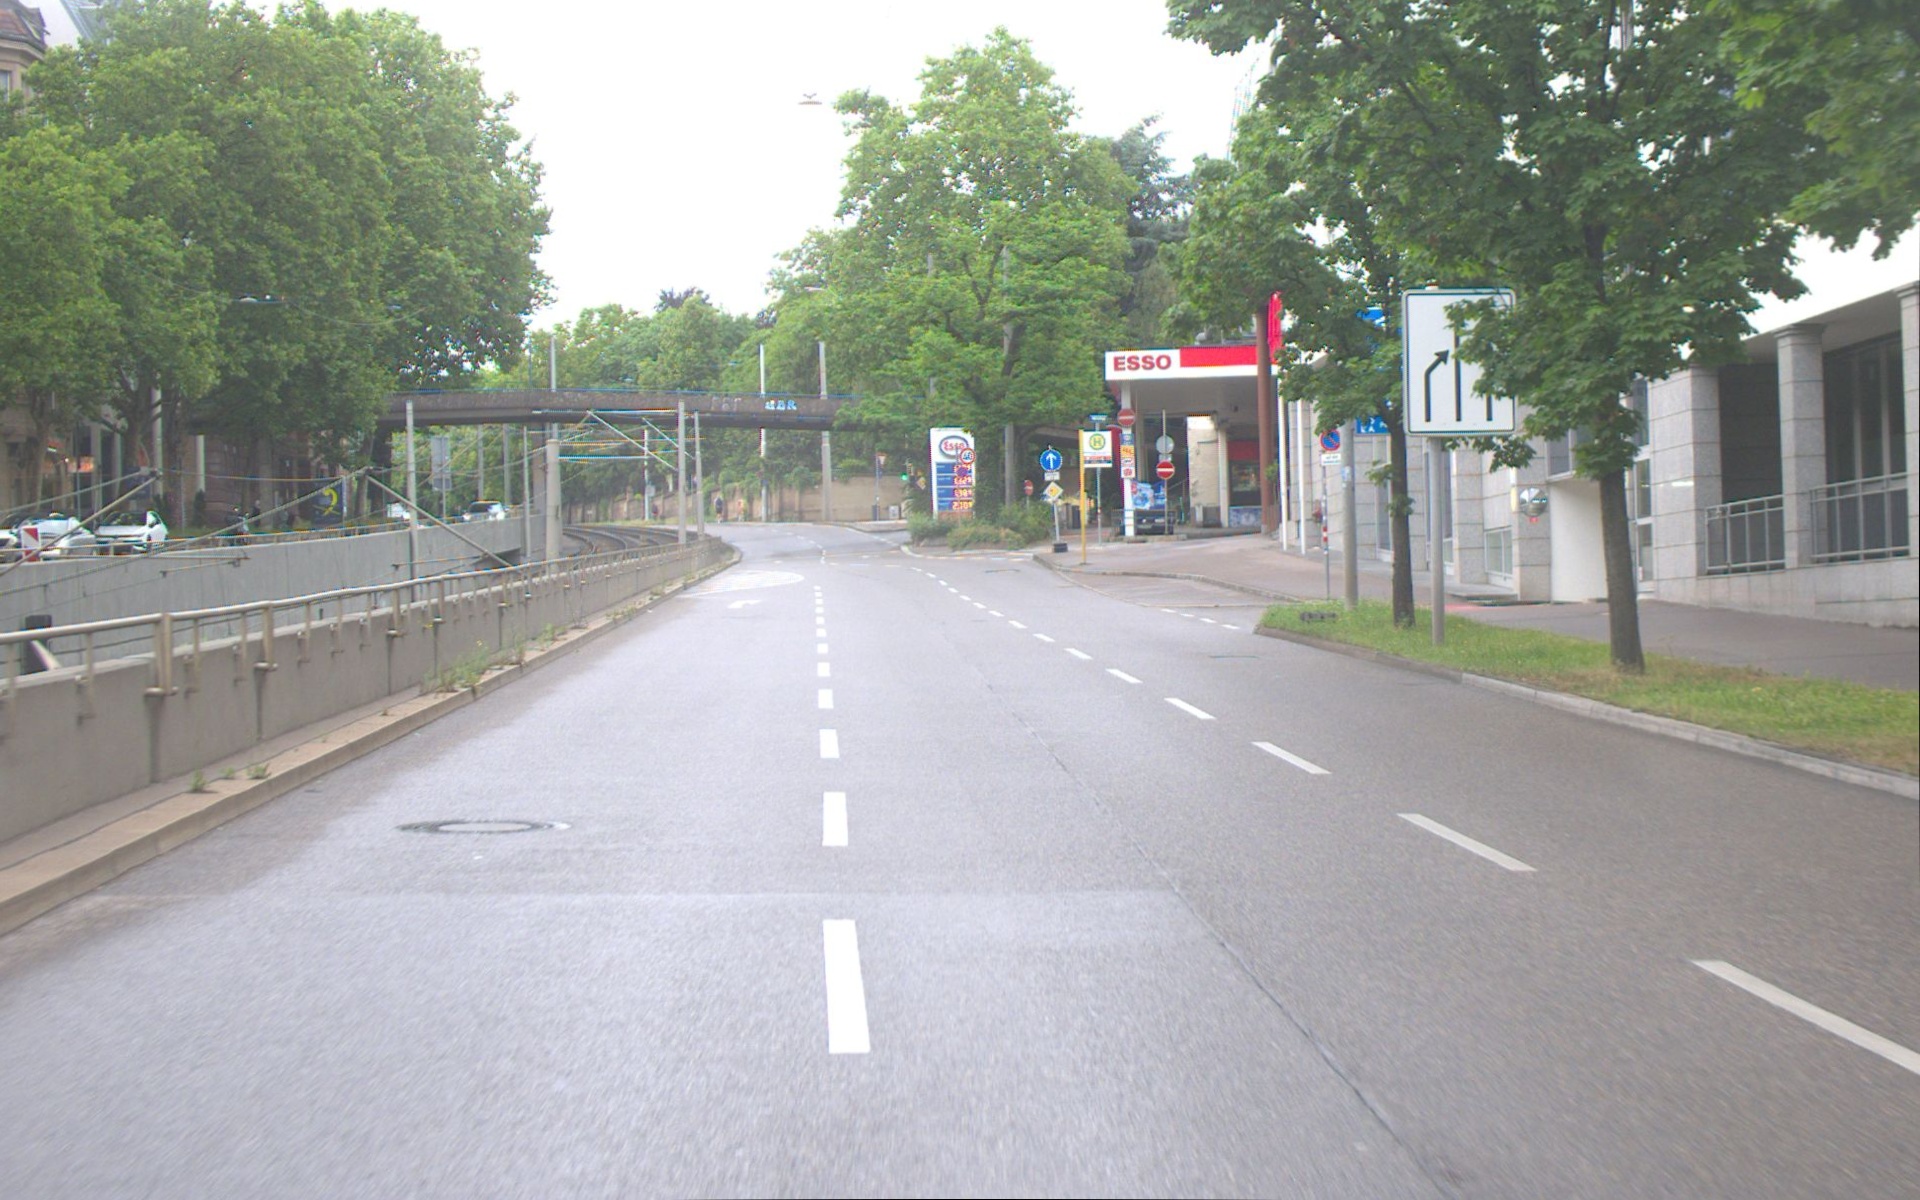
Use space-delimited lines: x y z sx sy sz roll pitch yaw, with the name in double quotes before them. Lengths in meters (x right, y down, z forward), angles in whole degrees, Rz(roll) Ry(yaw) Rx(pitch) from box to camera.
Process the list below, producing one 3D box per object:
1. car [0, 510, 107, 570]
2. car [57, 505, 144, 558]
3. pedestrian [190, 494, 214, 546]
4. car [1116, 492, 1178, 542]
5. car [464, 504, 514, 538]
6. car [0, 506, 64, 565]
"car" -23.812 -1.587 90.047 1.846 1.505 4.017 1 2 2
"car" -27.129 -2.189 108.638 1.794 1.606 4.113 0 2 -1
"pedestrian" -29.535 -3.131 133.962 0.669 2.007 0.935 1 0 1
"car" 6.511 -2.890 119.308 1.773 1.618 3.865 -3 1 7
"car" -21.136 -3.562 154.385 2.026 1.505 4.884 0 2 -5
"car" -26.864 -1.838 96.851 1.927 1.595 5.200 0 2 -1
